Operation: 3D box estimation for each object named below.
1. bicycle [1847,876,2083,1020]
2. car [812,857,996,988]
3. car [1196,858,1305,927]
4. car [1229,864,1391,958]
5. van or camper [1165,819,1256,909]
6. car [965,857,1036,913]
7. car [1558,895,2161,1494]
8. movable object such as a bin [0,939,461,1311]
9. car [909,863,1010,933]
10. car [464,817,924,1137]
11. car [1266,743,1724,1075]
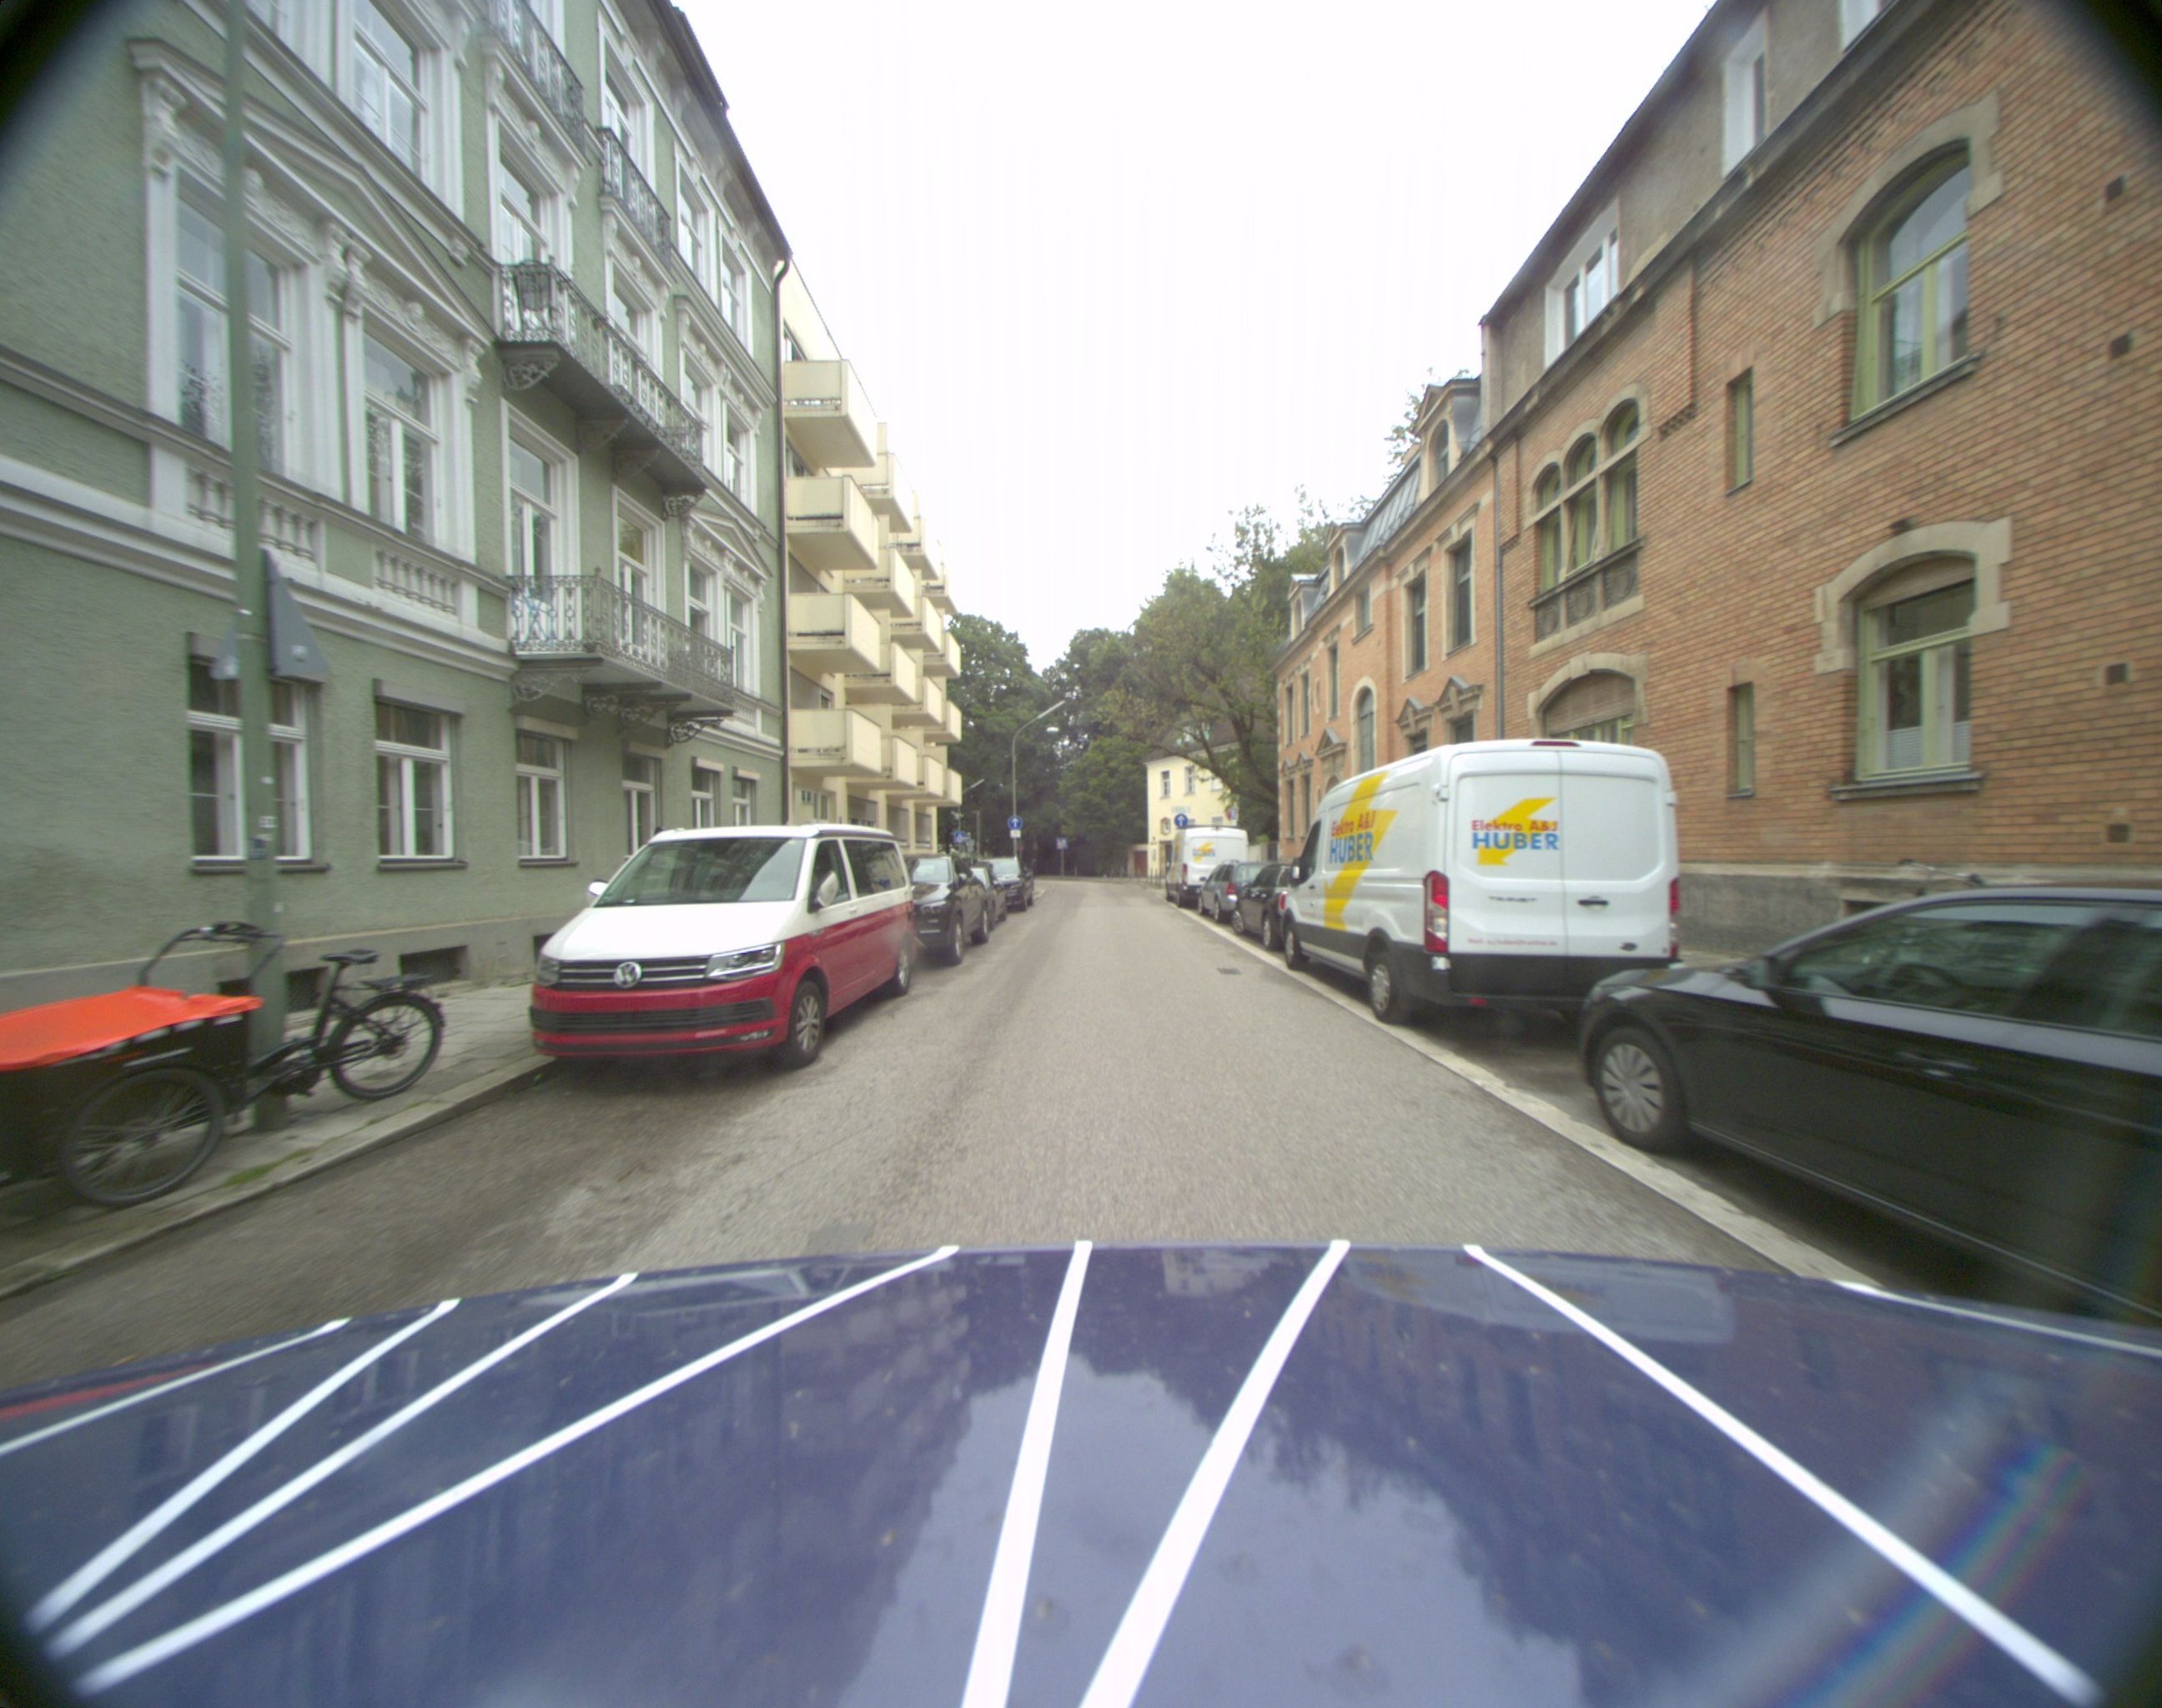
[{"bbox_3d":[7.839,0.776,6.833,0.394,1.078,1.471,-3,1,0],"label":"bicycle"},{"bbox_3d":[-2.698,0.954,12.813,1.860,1.700,4.698,-2,0,1],"label":"car"},{"bbox_3d":[4.015,0.848,18.623,1.769,1.491,4.080,0,0,0],"label":"car"},{"bbox_3d":[3.883,0.900,13.560,1.769,1.407,3.793,0,0,0],"label":"car"},{"bbox_3d":[4.059,0.301,24.626,2.116,2.646,4.958,0,0,0],"label":"van or camper"},{"bbox_3d":[-2.476,0.917,24.307,1.771,1.607,4.263,-1,0,0],"label":"car"},{"bbox_3d":[3.630,0.935,2.334,1.719,1.412,4.166,0,0,0],"label":"car"},{"bbox_3d":[-4.689,1.177,4.006,1.023,1.186,2.163,1,0,1],"label":"movable object such as a bin"},{"bbox_3d":[-2.792,0.971,18.386,1.753,1.458,4.336,0,0,0],"label":"car"},{"bbox_3d":[-3.010,0.810,7.322,1.858,2.019,4.783,-2,0,1],"label":"car"},{"bbox_3d":[3.697,0.417,8.236,2.117,2.461,5.231,0,0,0],"label":"car"}]
